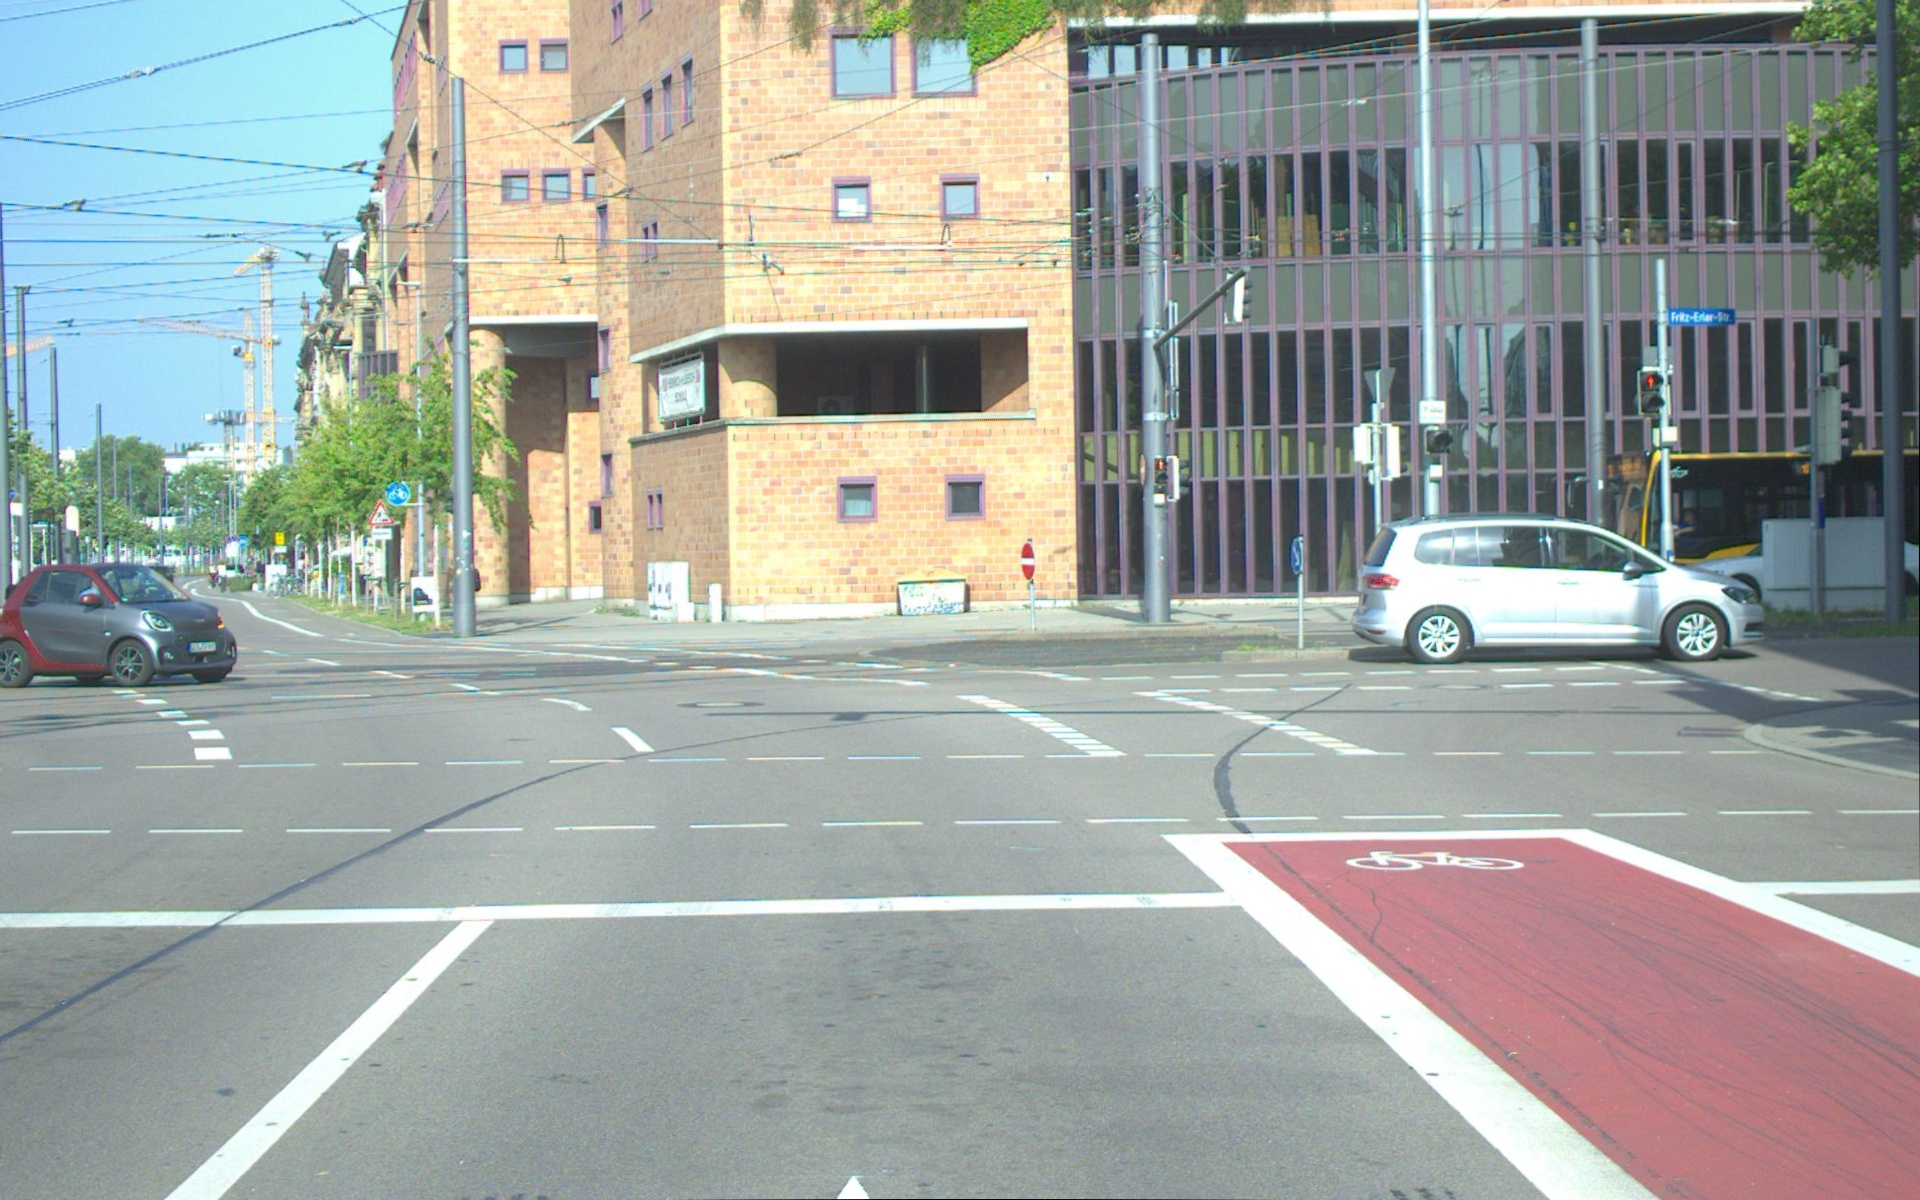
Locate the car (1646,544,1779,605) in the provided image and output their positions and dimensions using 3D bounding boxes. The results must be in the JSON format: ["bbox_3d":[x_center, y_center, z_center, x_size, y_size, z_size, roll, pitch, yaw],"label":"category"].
[{"bbox_3d":[12.597,-0.422,57.615,1.951,0.955,1.094,1,-1,-2],"label":"car"}]

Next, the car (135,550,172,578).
[{"bbox_3d":[-48.292,-2.151,205.887,2.073,1.537,4.415,-1,-1,-13],"label":"car"}]

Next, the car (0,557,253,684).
[{"bbox_3d":[-10.738,0.271,42.502,3.596,1.487,1.700,-1,-1,26],"label":"car"}]

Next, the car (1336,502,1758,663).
[{"bbox_3d":[6.472,-0.215,38.196,4.377,1.629,1.690,-1,2,0],"label":"car"}]

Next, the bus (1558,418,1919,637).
[{"bbox_3d":[19.911,-1.384,63.146,17.605,3.797,2.866,-1,-1,-10],"label":"bus"}]
